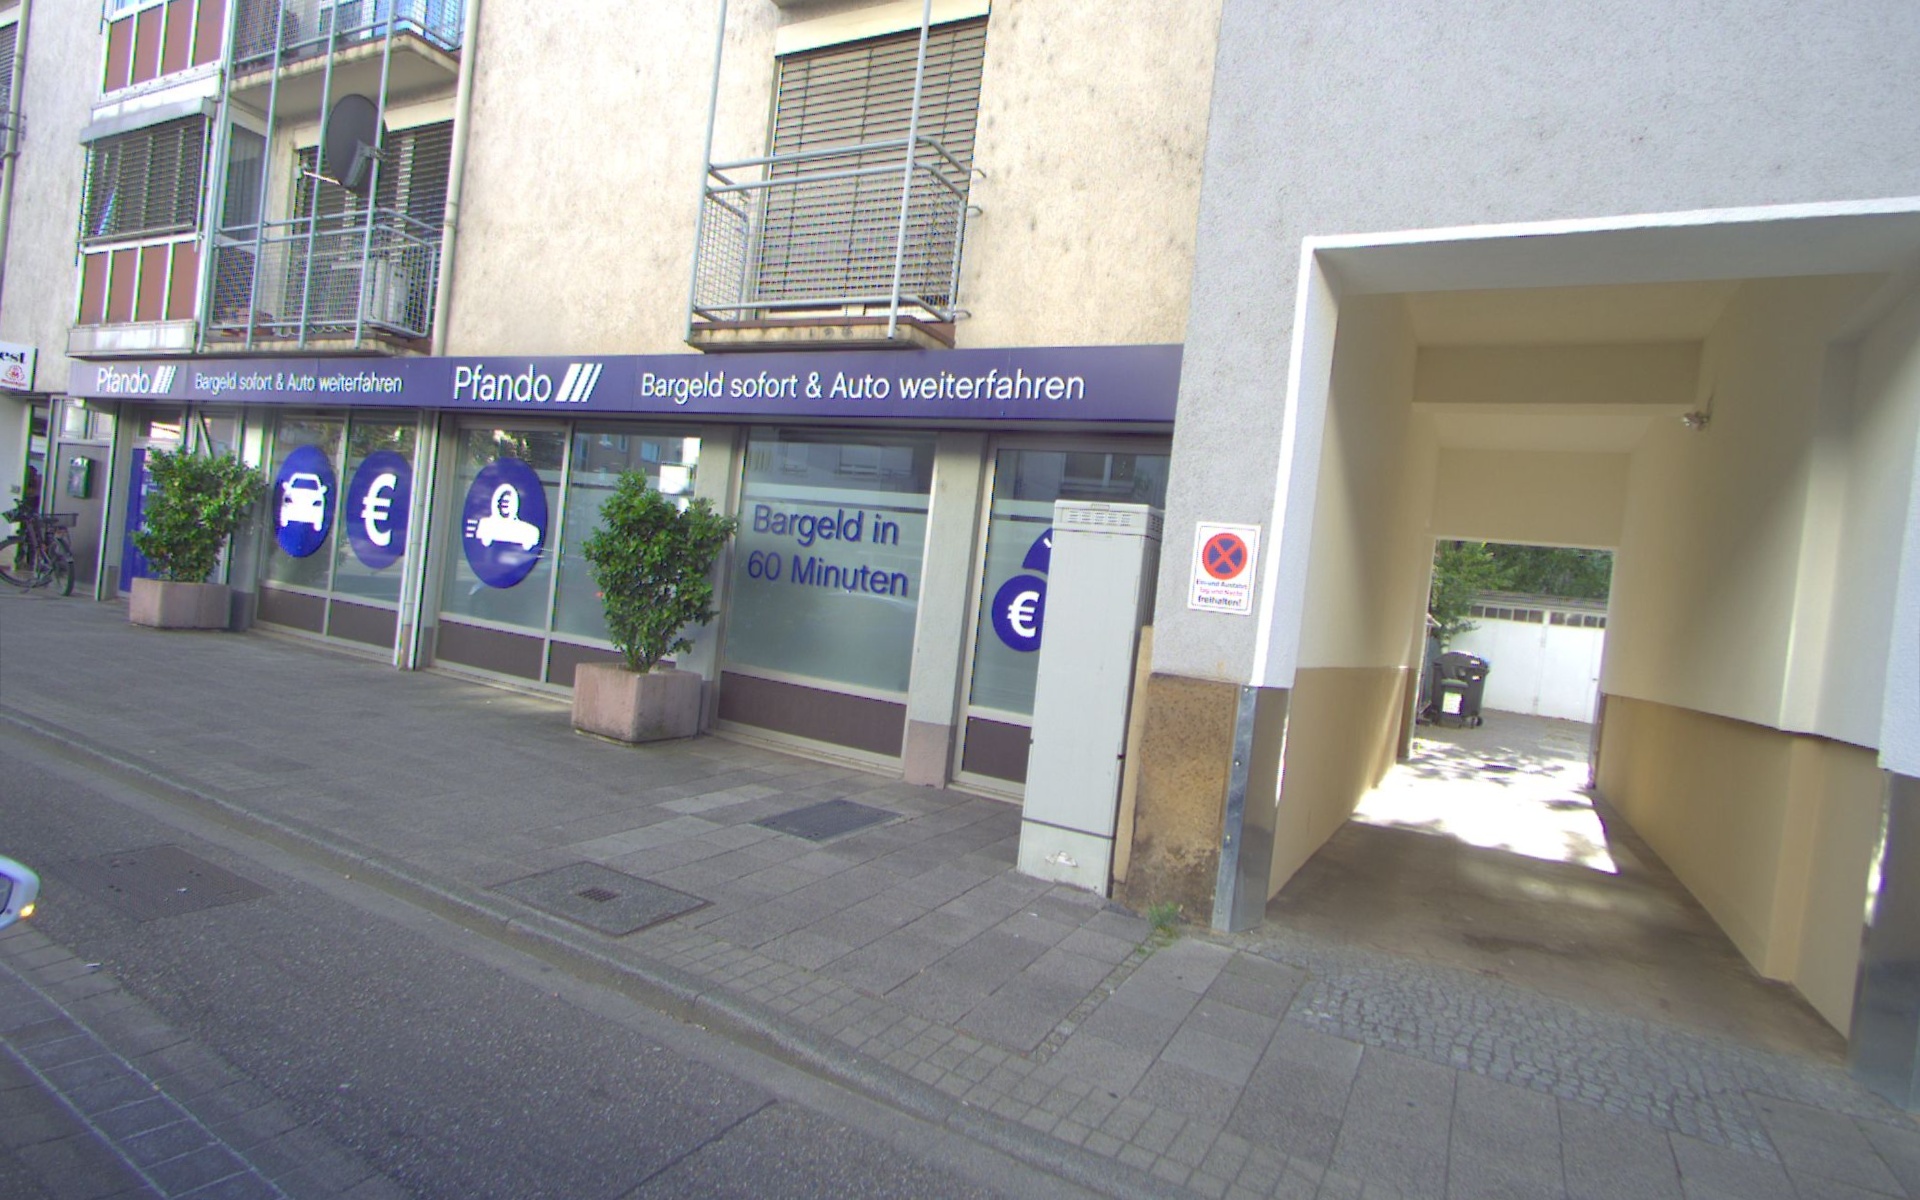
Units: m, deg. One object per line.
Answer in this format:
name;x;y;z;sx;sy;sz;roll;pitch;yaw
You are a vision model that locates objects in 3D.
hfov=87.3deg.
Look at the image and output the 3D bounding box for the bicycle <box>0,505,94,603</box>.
bicycle;-11.870;-0.608;12.875;1.779;1.086;0.531;7;1;28
